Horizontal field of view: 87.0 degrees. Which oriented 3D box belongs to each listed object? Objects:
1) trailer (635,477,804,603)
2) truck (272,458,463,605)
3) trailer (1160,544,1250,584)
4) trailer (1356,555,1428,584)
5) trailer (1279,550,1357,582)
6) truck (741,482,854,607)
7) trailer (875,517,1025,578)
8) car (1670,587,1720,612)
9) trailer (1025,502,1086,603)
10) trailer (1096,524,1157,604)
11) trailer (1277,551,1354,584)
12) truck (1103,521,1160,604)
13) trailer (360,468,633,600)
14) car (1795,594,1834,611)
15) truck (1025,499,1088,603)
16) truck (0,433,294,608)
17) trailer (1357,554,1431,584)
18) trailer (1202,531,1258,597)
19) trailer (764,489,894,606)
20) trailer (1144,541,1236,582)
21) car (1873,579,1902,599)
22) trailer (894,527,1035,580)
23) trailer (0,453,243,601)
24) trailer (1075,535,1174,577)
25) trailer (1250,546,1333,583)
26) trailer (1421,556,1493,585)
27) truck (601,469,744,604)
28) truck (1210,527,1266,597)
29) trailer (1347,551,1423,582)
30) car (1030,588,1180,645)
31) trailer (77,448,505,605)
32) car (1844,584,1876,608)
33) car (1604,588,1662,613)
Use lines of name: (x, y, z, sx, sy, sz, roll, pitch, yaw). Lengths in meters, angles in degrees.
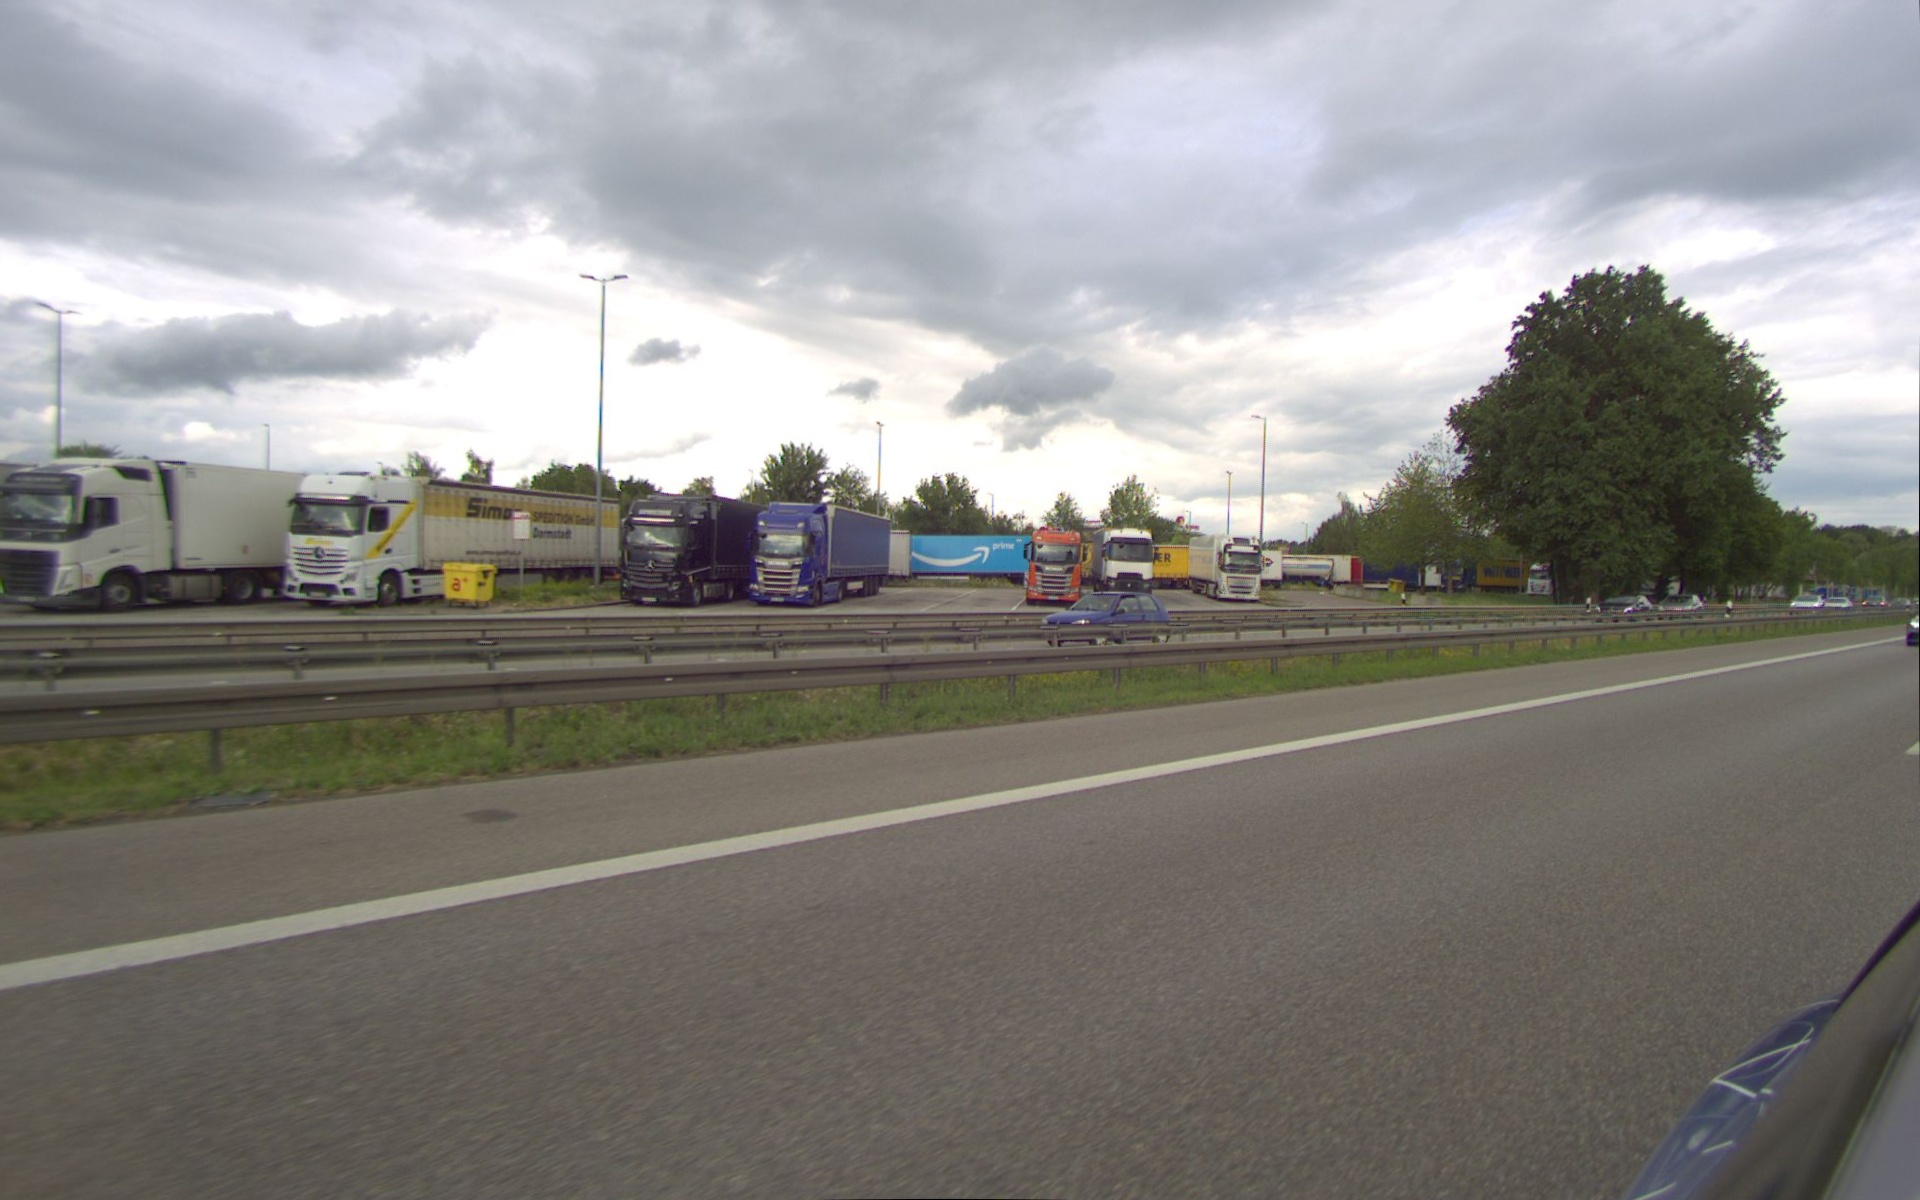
trailer: (-9.858, -2.277, 43.614, 3.109, 4.649, 12.390, 0, 0, 6)
truck: (-17.890, -1.940, 30.883, 2.651, 4.106, 4.787, 0, 0, 8)
trailer: (23.317, -3.433, 96.778, 7.885, 3.660, 2.921, 0, 0, 2)
trailer: (52.410, -3.691, 123.004, 7.452, 3.502, 2.919, 0, 0, 4)
trailer: (40.132, -3.819, 113.597, 7.610, 3.519, 2.919, 0, 0, 4)
truck: (-6.368, -2.074, 40.590, 3.007, 4.614, 6.077, 0, 0, 6)
trailer: (-0.679, -3.727, 72.732, 10.599, 4.173, 2.921, 0, 0, 2)
car: (41.477, -0.028, 57.083, 3.930, 1.322, 1.412, 0, 2, -41)
trailer: (5.246, -2.294, 55.490, 2.814, 4.737, 15.787, 0, 0, 6)
trailer: (9.652, -1.952, 60.050, 2.617, 4.165, 14.048, 0, 0, 6)
trailer: (38.580, -3.499, 109.979, 7.260, 3.502, 2.919, 0, 0, 4)
truck: (9.081, -1.911, 54.080, 2.623, 4.201, 5.920, 0, 0, 6)
trailer: (-16.902, -2.138, 38.852, 2.607, 4.145, 13.771, 0, 0, 8)
car: (68.515, 0.180, 81.150, 3.810, 1.258, 1.827, 0, 2, -41)
truck: (4.567, -2.248, 48.356, 2.827, 4.682, 5.165, 0, 0, 5)
truck: (-22.277, -1.928, 27.828, 2.836, 4.186, 6.959, 0, 0, 7)
trailer: (51.319, -3.657, 119.903, 7.452, 3.502, 2.919, 0, 0, 4)
trailer: (18.219, -2.328, 68.895, 2.771, 4.106, 10.929, 0, 0, 10)
trailer: (-5.687, -2.166, 47.185, 3.010, 4.637, 13.637, 0, 0, 6)
trailer: (20.938, -3.493, 92.582, 7.898, 3.660, 2.916, 0, 0, 8)
car: (96.797, -1.174, 105.613, 4.268, 2.039, 1.703, -1, 0, -41)
trailer: (0.354, -3.487, 77.194, 10.599, 3.871, 2.921, 0, 0, 2)
trailer: (-28.835, -2.077, 29.593, 3.468, 4.186, 15.554, 0, 0, 6)
trailer: (13.538, -3.602, 83.881, 7.891, 3.286, 2.919, 0, 0, 5)
trailer: (33.600, -3.597, 102.892, 7.452, 3.660, 2.919, 0, 0, 4)
trailer: (61.912, -3.700, 126.267, 7.452, 3.502, 2.919, 0, 0, 4)
truck: (-10.520, -2.203, 37.734, 3.113, 4.614, 6.077, 0, 0, 6)
truck: (17.108, -2.260, 62.622, 2.781, 4.111, 6.430, 0, 0, 10)
trailer: (48.842, -3.859, 116.519, 7.452, 3.502, 2.919, 0, 0, 4)
car: (3.561, 0.349, 24.639, 3.484, 1.274, 1.795, -1, 0, -41)
trailer: (-21.451, -2.023, 34.913, 2.805, 4.156, 15.862, 0, 0, 7)
car: (79.447, -0.386, 89.332, 3.930, 2.039, 1.605, -1, 0, -41)
car: (34.172, 0.009, 51.363, 3.930, 1.230, 1.465, 0, 2, -41)
